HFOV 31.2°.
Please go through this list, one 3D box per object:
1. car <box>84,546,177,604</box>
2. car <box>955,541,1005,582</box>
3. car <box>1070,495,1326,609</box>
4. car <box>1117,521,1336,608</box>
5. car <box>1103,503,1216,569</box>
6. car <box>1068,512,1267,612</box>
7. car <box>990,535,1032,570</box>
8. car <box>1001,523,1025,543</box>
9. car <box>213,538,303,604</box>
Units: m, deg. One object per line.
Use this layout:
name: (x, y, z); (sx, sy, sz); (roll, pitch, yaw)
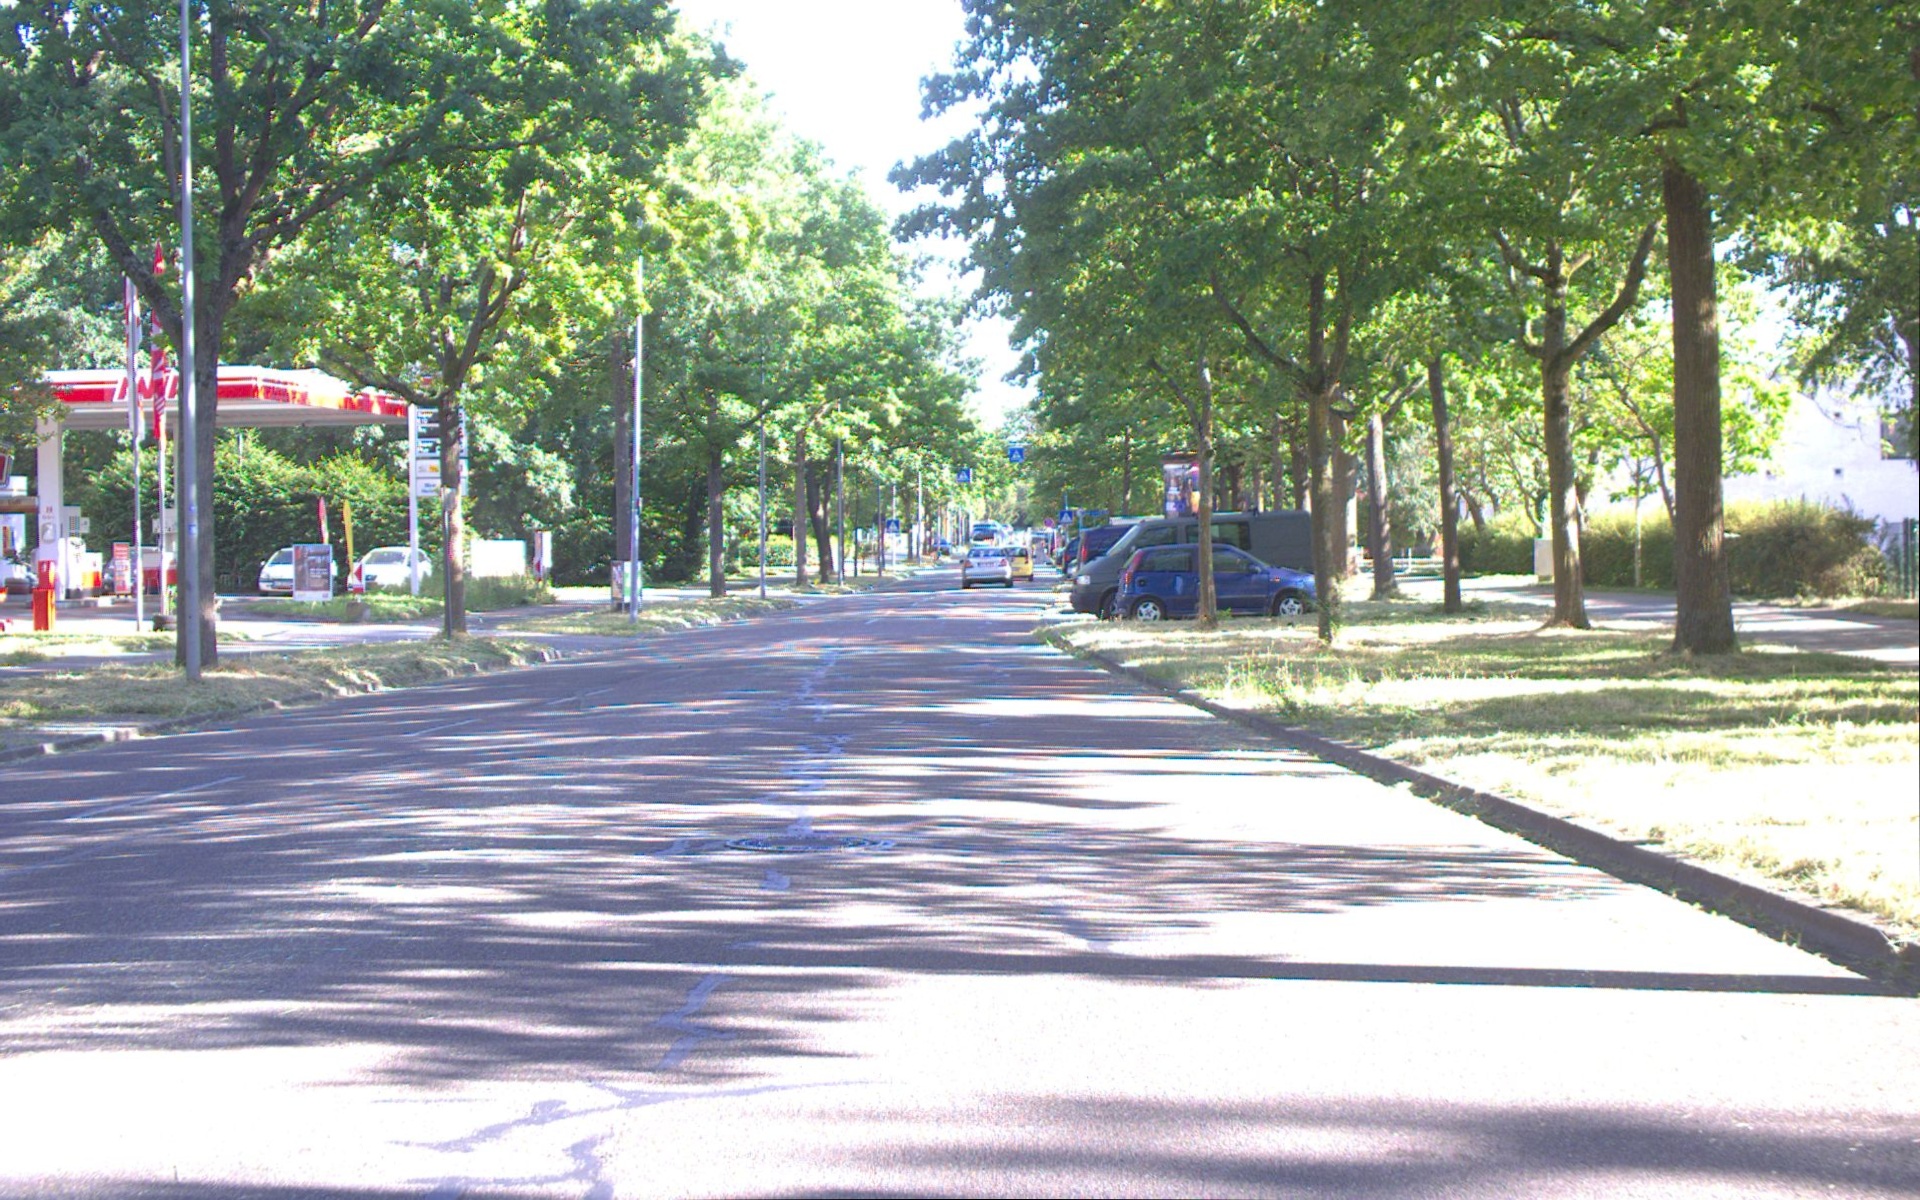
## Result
car: (-24.271, -0.714, 100.740); (1.801, 1.615, 3.805); (-1, 0, 0)
car: (0.687, -1.312, 118.879); (1.661, 1.332, 3.665); (-1, 0, 0)
car: (4.285, -0.863, 62.463); (4.502, 1.946, 1.687); (-1, 0, 1)
car: (4.590, -0.608, 59.479); (3.653, 1.393, 1.317); (-1, 0, 1)
car: (6.493, -2.089, 112.165); (3.567, 2.044, 1.633); (-1, 0, 1)
car: (3.905, -0.702, 64.961); (3.653, 1.791, 1.317); (-1, 0, 1)
car: (2.072, -1.940, 140.210); (1.661, 1.332, 3.665); (-1, 0, 0)
car: (3.708, -4.700, 241.392); (1.661, 1.332, 3.665); (-1, 0, 0)
car: (-20.018, -0.816, 98.147); (1.801, 1.817, 3.805); (-1, 0, -1)
